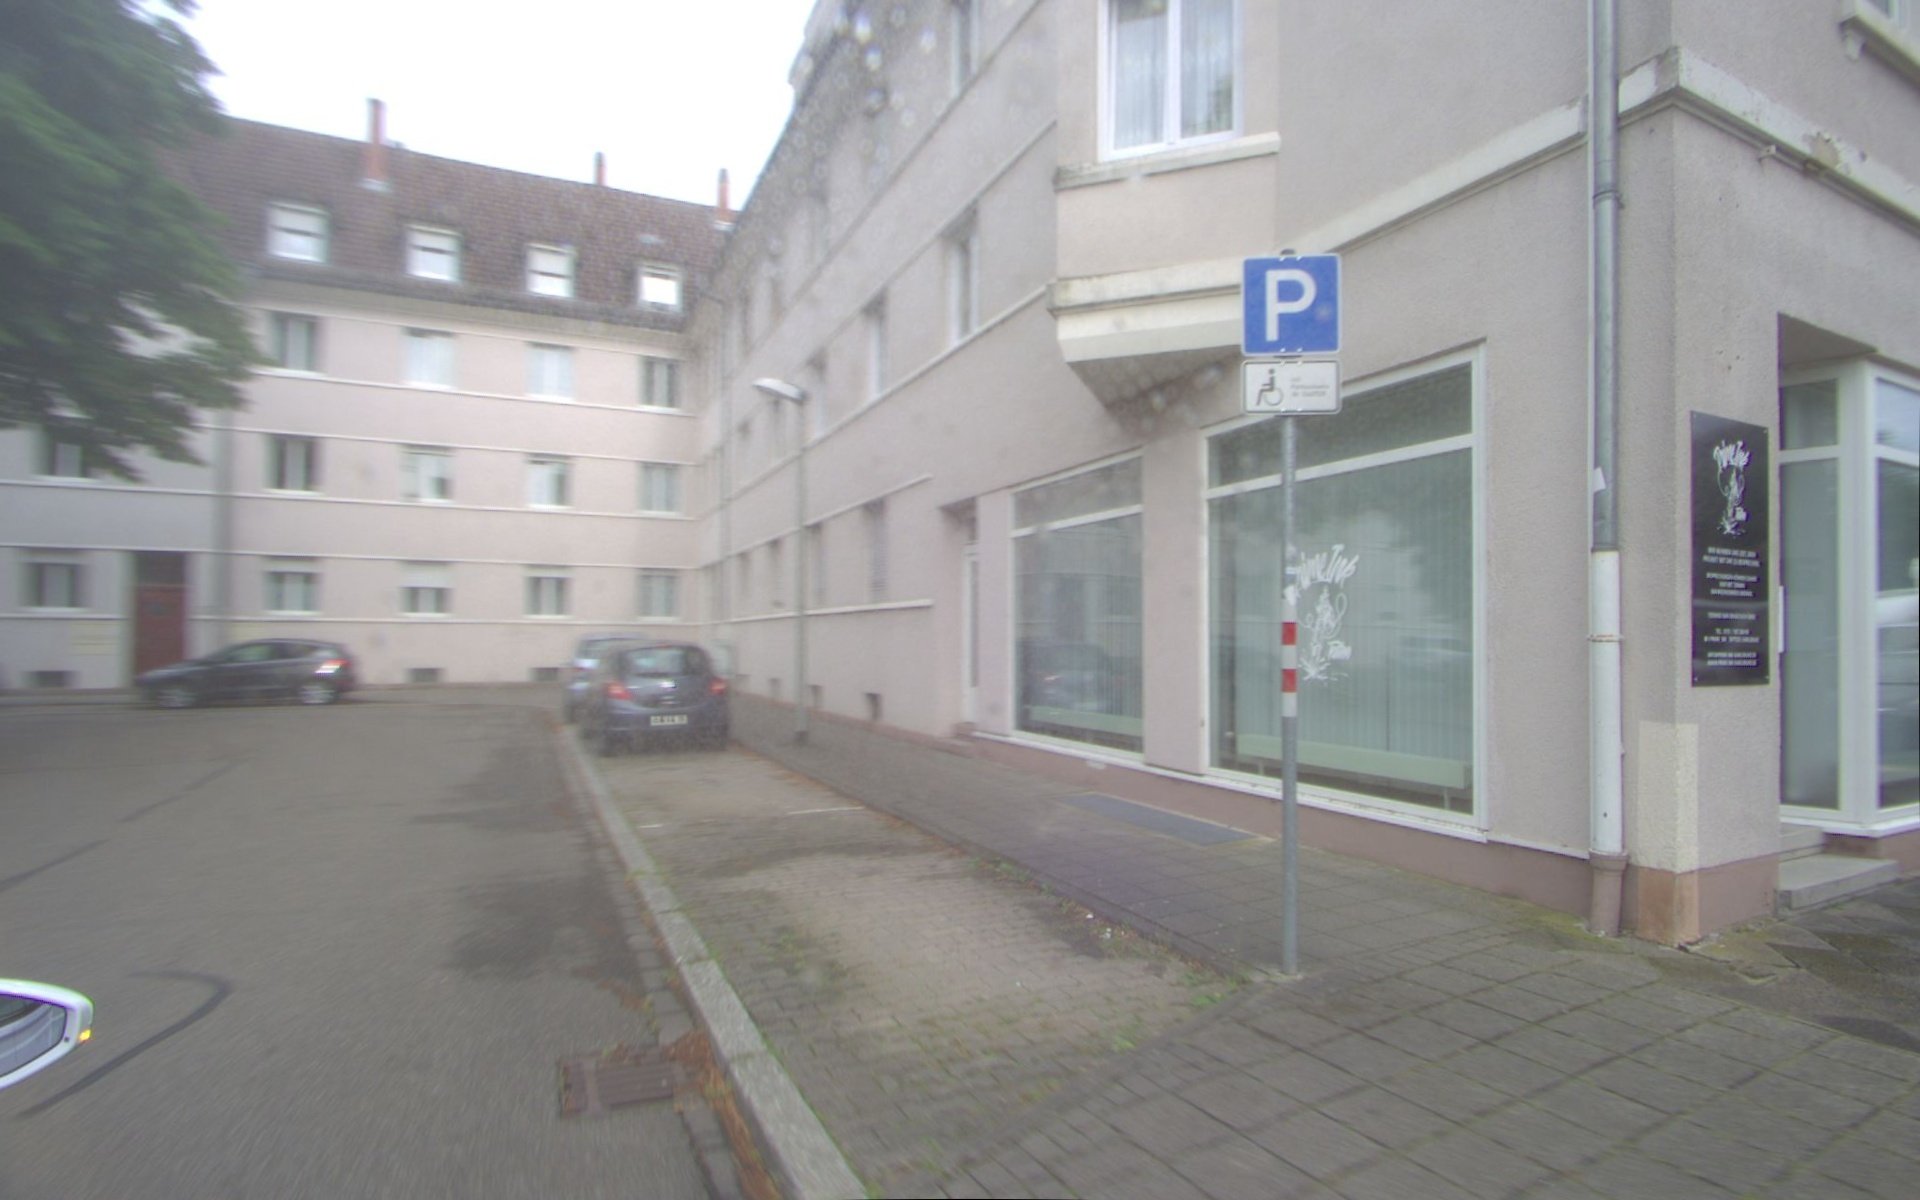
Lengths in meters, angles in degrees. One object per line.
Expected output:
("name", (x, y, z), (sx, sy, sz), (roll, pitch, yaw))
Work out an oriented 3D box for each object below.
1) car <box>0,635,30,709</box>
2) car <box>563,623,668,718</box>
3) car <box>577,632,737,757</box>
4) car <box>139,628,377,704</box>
("car", (-21.470, 1.373, 19.271), (4.873, 1.439, 1.744), (2, -2, -26))
("car", (-6.796, 1.338, 19.608), (1.733, 1.648, 4.191), (1, -3, -21))
("car", (-4.441, 1.250, 14.298), (1.734, 1.508, 3.926), (1, -3, -23))
("car", (-15.362, 1.439, 22.194), (4.016, 1.544, 1.756), (2, -1, -26))
